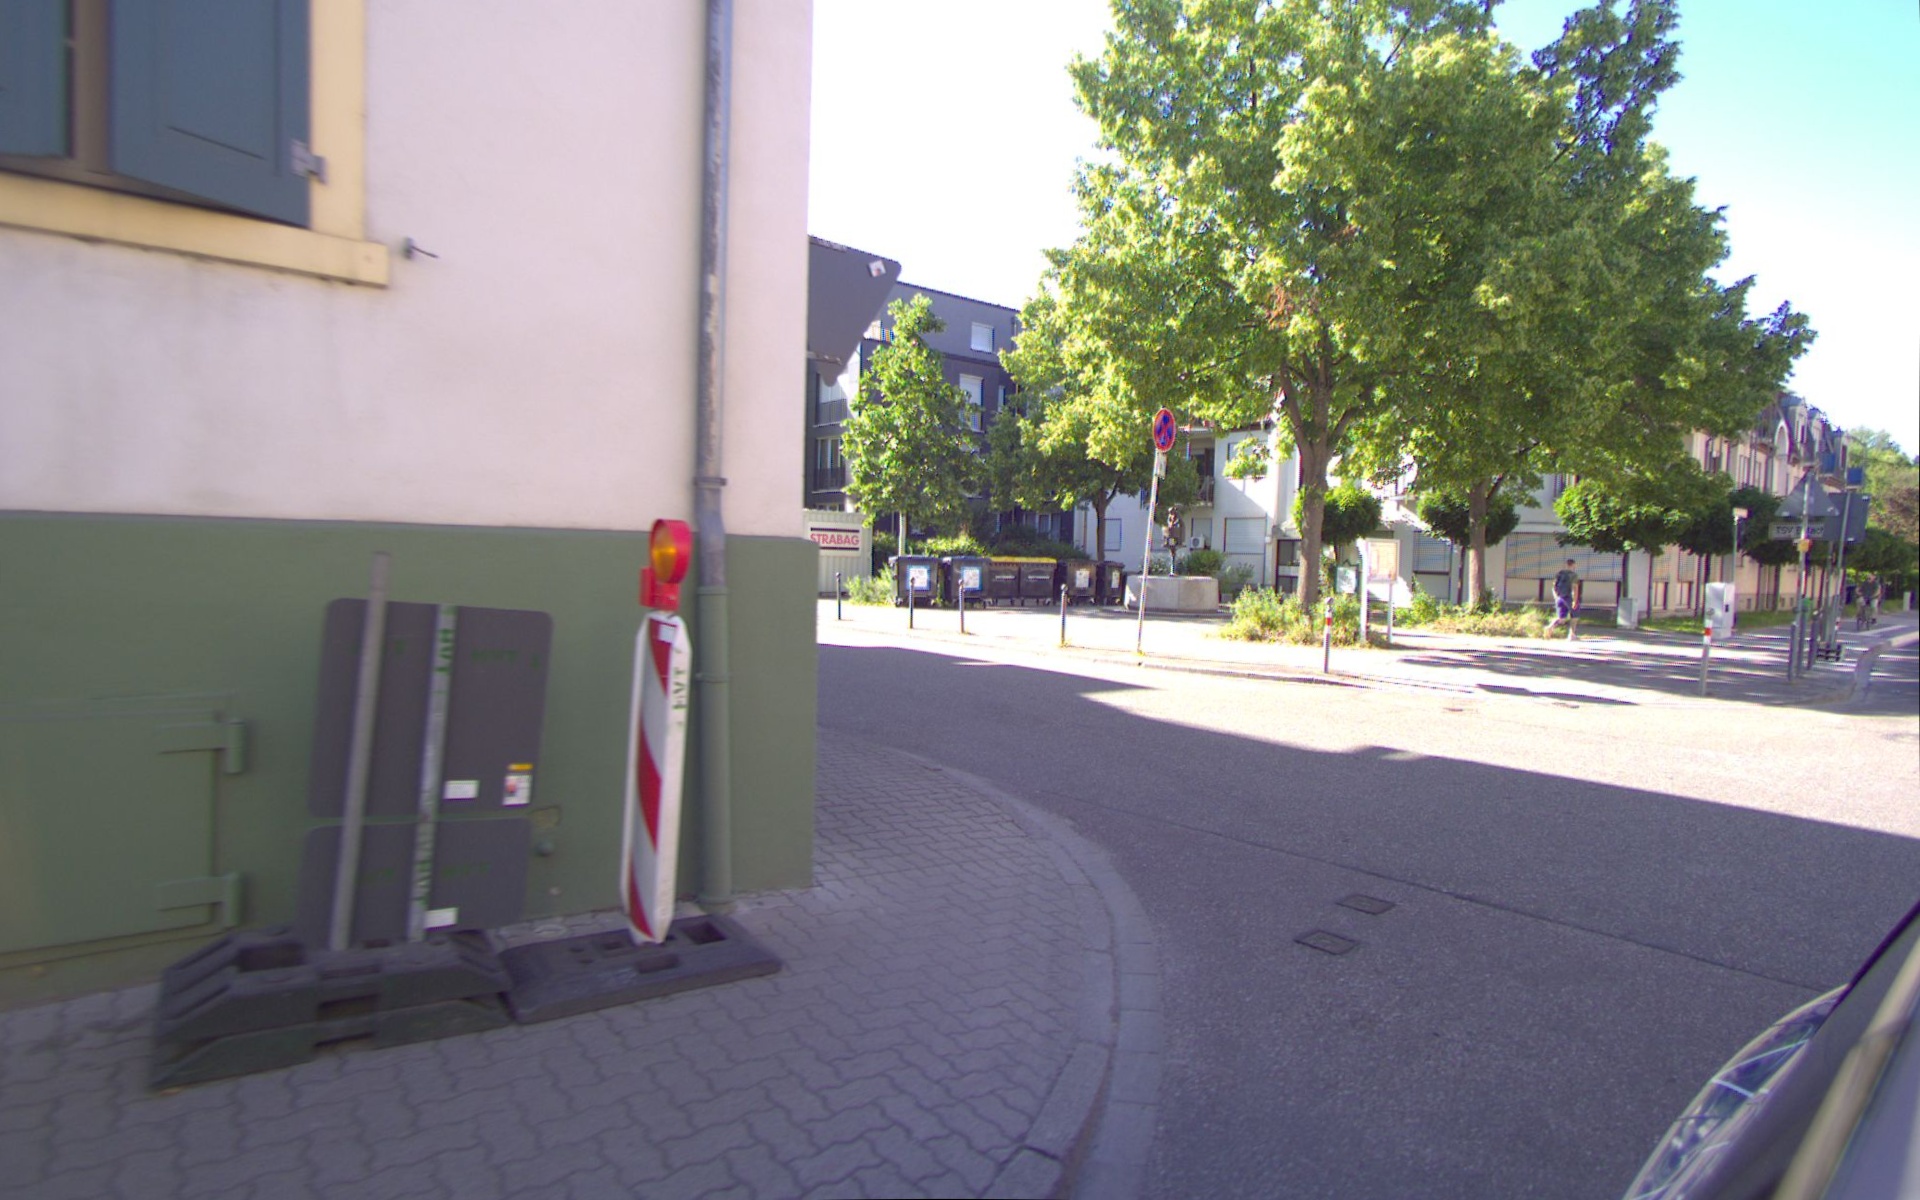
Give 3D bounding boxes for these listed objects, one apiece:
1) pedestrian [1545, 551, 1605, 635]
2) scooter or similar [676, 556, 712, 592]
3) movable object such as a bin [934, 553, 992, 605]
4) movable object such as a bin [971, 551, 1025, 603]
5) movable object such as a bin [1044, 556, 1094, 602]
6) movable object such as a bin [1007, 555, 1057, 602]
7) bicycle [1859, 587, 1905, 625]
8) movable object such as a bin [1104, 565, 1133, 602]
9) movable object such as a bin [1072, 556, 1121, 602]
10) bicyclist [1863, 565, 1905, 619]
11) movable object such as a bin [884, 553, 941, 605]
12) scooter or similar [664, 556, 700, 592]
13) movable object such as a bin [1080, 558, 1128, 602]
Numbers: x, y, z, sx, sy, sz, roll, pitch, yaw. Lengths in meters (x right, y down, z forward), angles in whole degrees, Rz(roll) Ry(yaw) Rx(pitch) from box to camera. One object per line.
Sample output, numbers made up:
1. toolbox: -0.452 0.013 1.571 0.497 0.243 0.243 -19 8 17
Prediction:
1. pedestrian: 13.117 -0.161 21.598 0.810 1.738 0.662 1 2 -12
2. scooter or similar: -7.897 -0.762 30.009 0.497 1.057 1.640 0 1 -36
3. movable object such as a bin: 0.074 -0.537 25.865 1.125 1.274 0.972 0 1 -32
4. movable object such as a bin: 1.025 -0.618 27.224 1.083 1.357 0.972 0 1 -32
5. movable object such as a bin: 3.072 -0.588 28.539 0.995 1.271 0.972 0 1 -32
6. movable object such as a bin: 1.979 -0.582 27.839 0.995 1.271 0.972 0 1 -32
7. bicycle: 28.360 0.179 31.122 1.784 1.076 0.669 -1 7 -39
8. movable object such as a bin: 4.842 -0.501 30.908 0.549 1.106 0.710 0 1 -32
9. movable object such as a bin: 3.926 -0.598 29.089 0.995 1.271 0.972 0 1 -32
10. bicyclist: 28.420 -0.258 31.112 0.898 1.556 0.669 -1 6 -38
11. movable object such as a bin: -1.207 -0.544 25.667 1.083 1.270 0.973 0 3 -32
12. scooter or similar: -8.250 -0.761 29.988 0.497 1.057 1.640 0 1 -36
13. movable object such as a bin: 4.246 -0.586 29.723 1.023 1.271 1.118 0 1 34
